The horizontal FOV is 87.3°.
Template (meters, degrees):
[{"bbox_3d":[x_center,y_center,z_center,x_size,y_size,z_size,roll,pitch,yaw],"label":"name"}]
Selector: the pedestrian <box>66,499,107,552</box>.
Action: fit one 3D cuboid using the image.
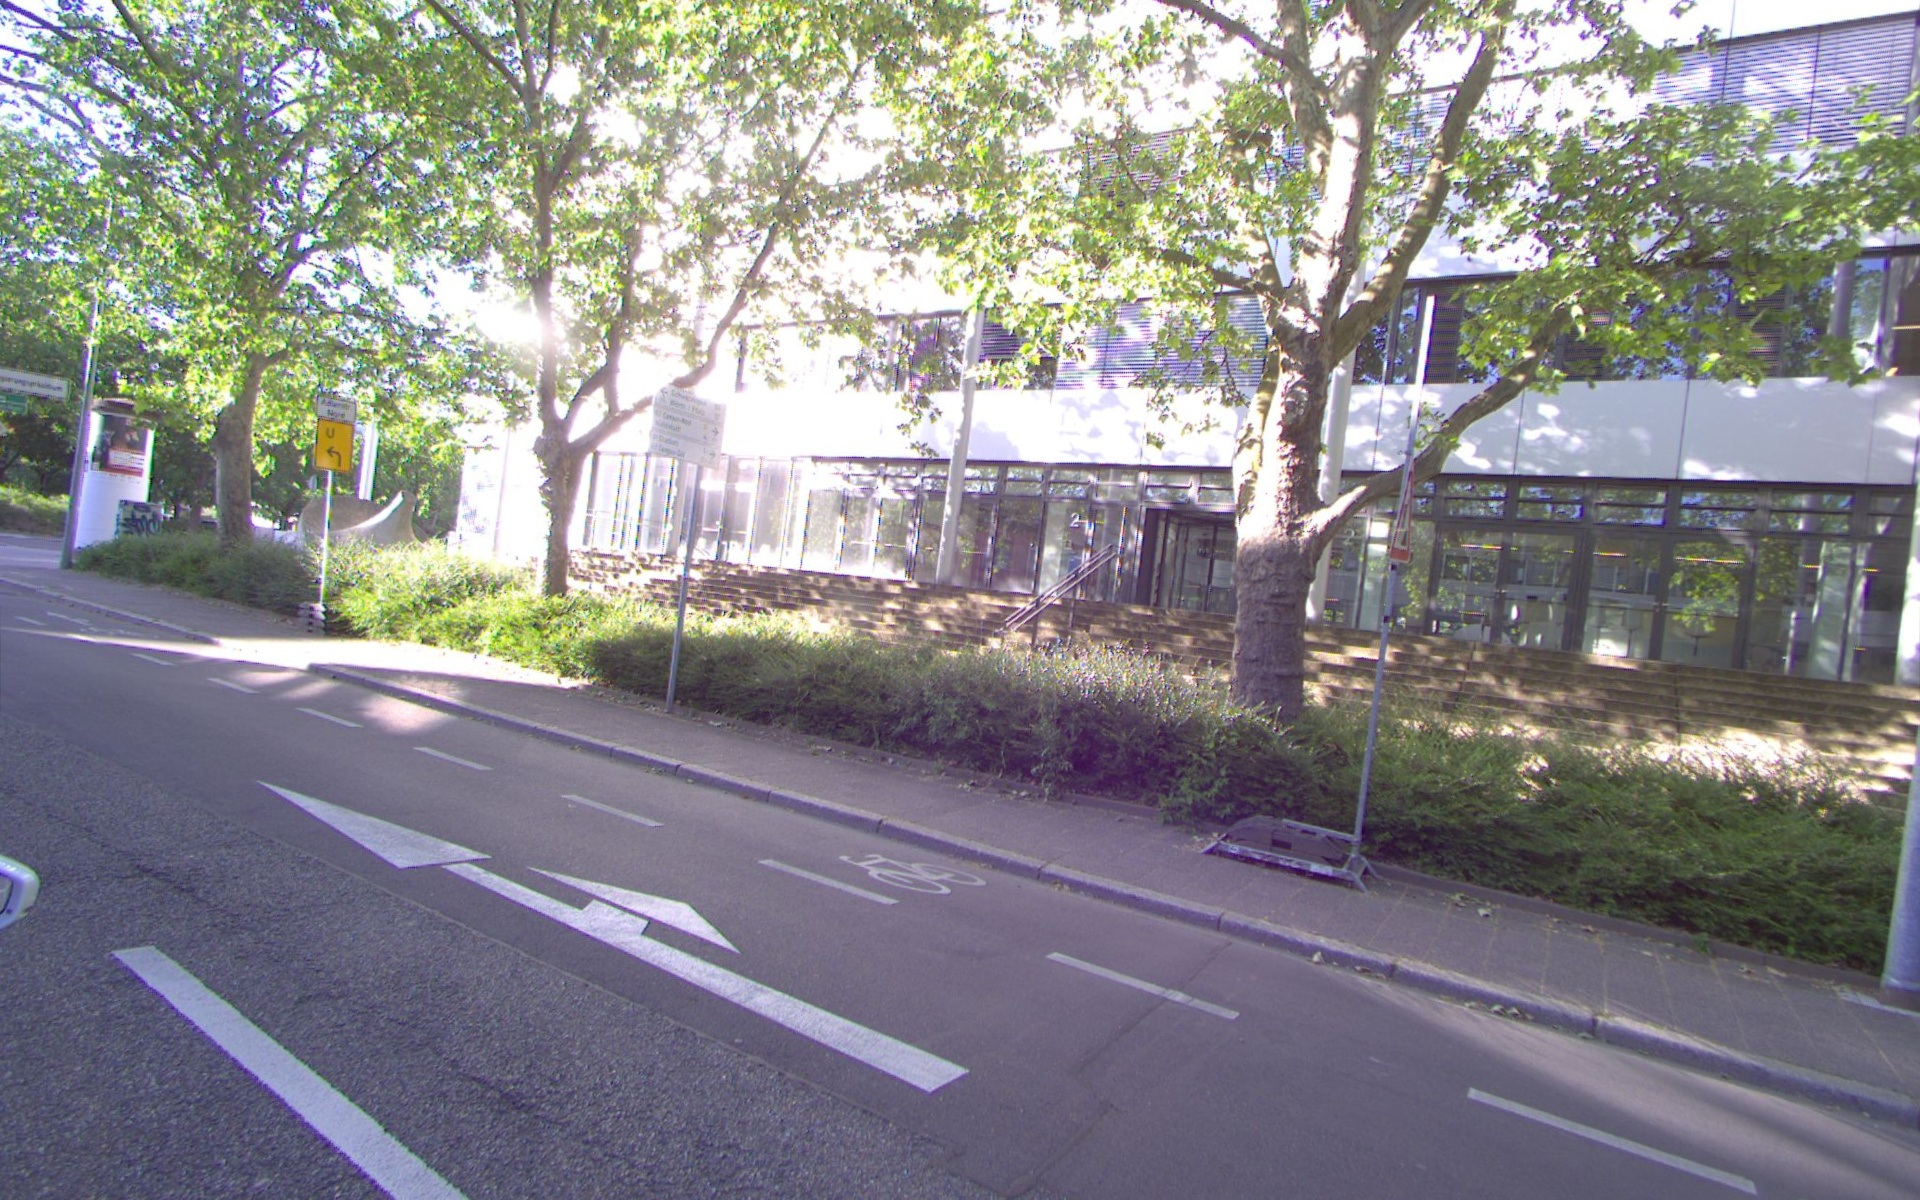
[{"bbox_3d":[-32.255,-2.760,37.141,0.716,1.799,0.738,7,-1,23],"label":"pedestrian"}]
